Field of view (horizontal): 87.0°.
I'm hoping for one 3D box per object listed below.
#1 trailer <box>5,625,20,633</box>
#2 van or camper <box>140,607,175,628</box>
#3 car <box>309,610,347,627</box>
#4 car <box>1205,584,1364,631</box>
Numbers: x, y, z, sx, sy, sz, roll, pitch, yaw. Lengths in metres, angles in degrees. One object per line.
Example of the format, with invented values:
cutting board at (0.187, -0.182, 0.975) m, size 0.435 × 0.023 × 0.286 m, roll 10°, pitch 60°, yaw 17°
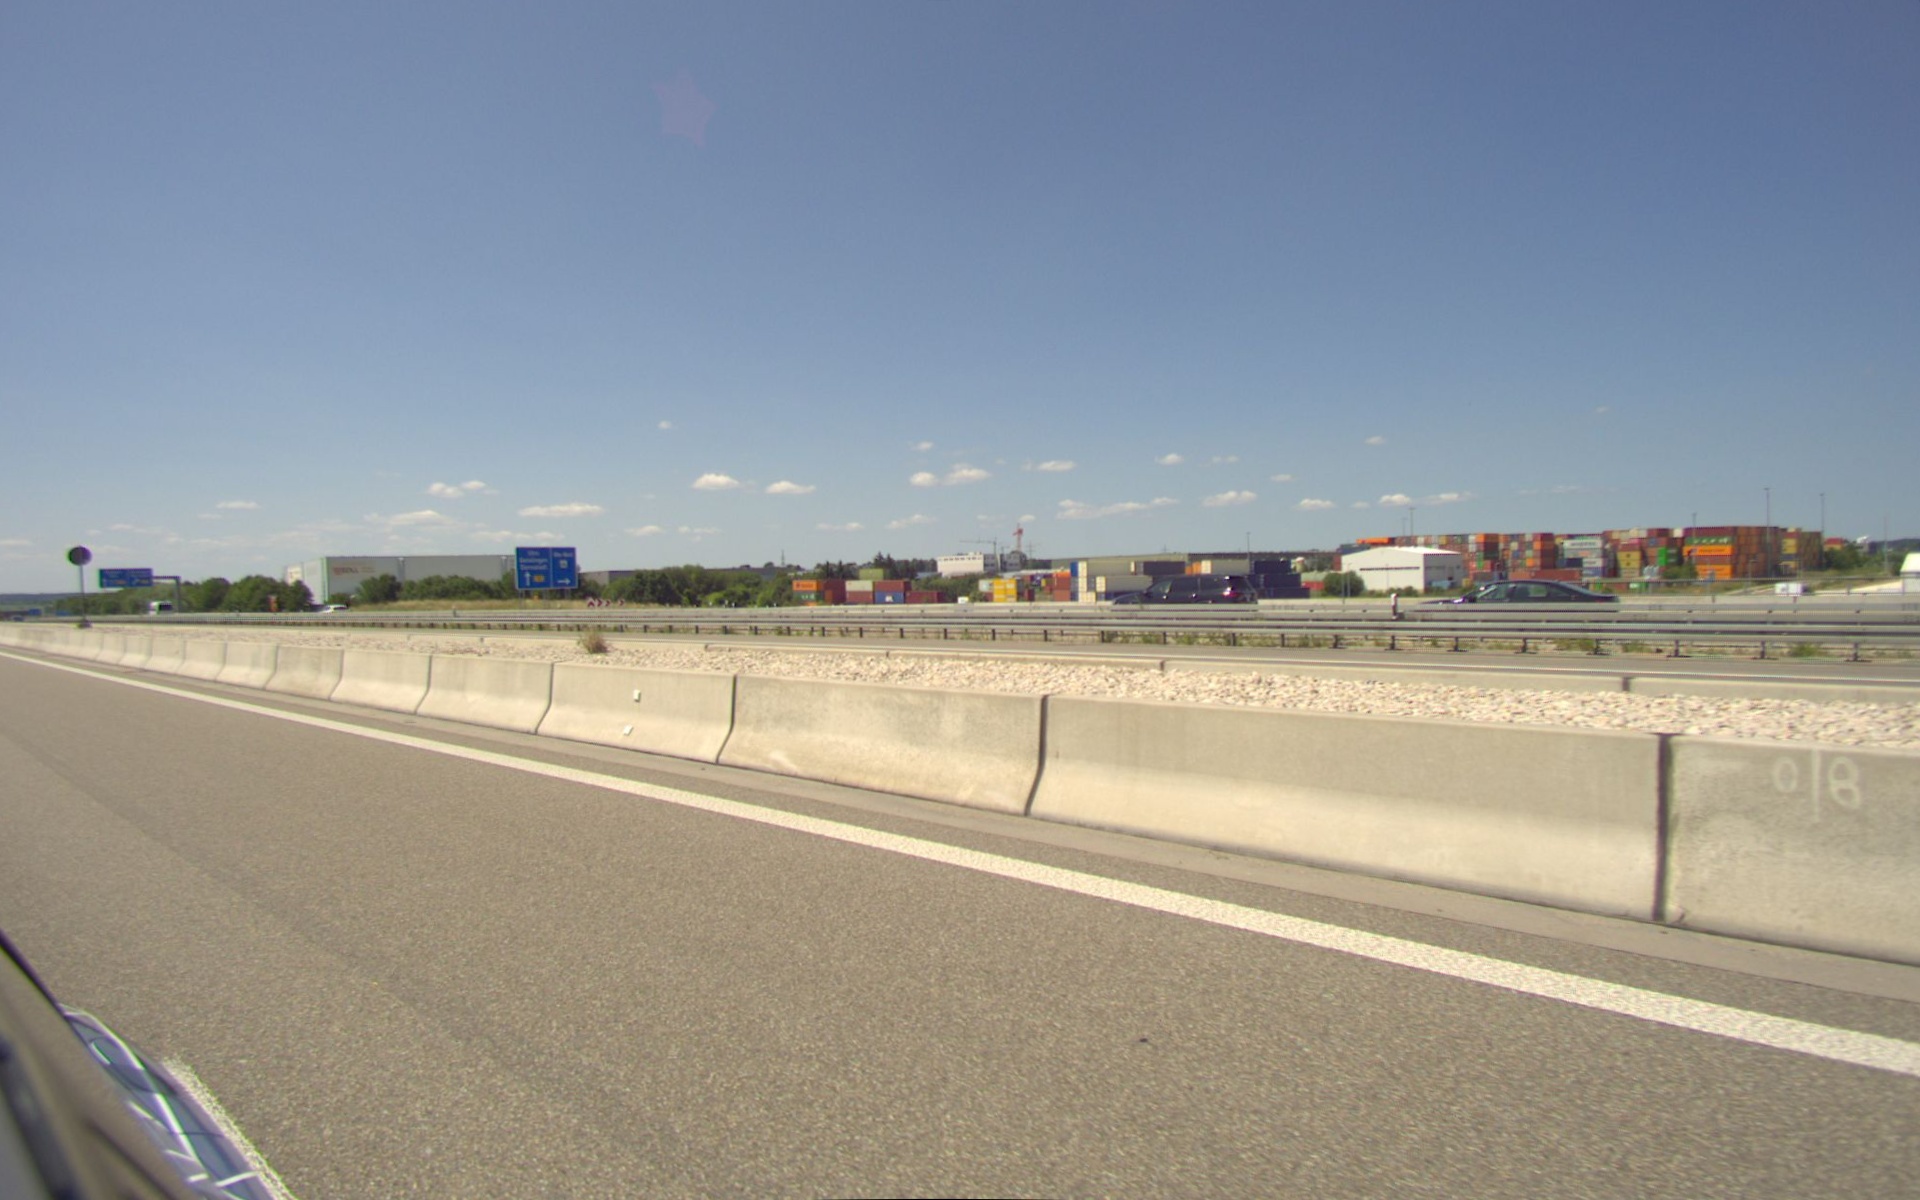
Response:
trailer at (-178.071, 5.523, 190.162) m, size 3.683 × 1.446 × 1.736 m, roll -1°, pitch -1°, yaw 43°
van or camper at (-111.117, 2.414, 140.109) m, size 7.539 × 2.843 × 2.519 m, roll -1°, pitch 0°, yaw 42°
car at (-53.828, 1.566, 86.158) m, size 4.361 × 1.390 × 1.547 m, roll -1°, pitch 0°, yaw 42°
car at (10.224, 0.239, 32.097) m, size 4.363 × 1.390 × 1.971 m, roll -1°, pitch 0°, yaw 44°
